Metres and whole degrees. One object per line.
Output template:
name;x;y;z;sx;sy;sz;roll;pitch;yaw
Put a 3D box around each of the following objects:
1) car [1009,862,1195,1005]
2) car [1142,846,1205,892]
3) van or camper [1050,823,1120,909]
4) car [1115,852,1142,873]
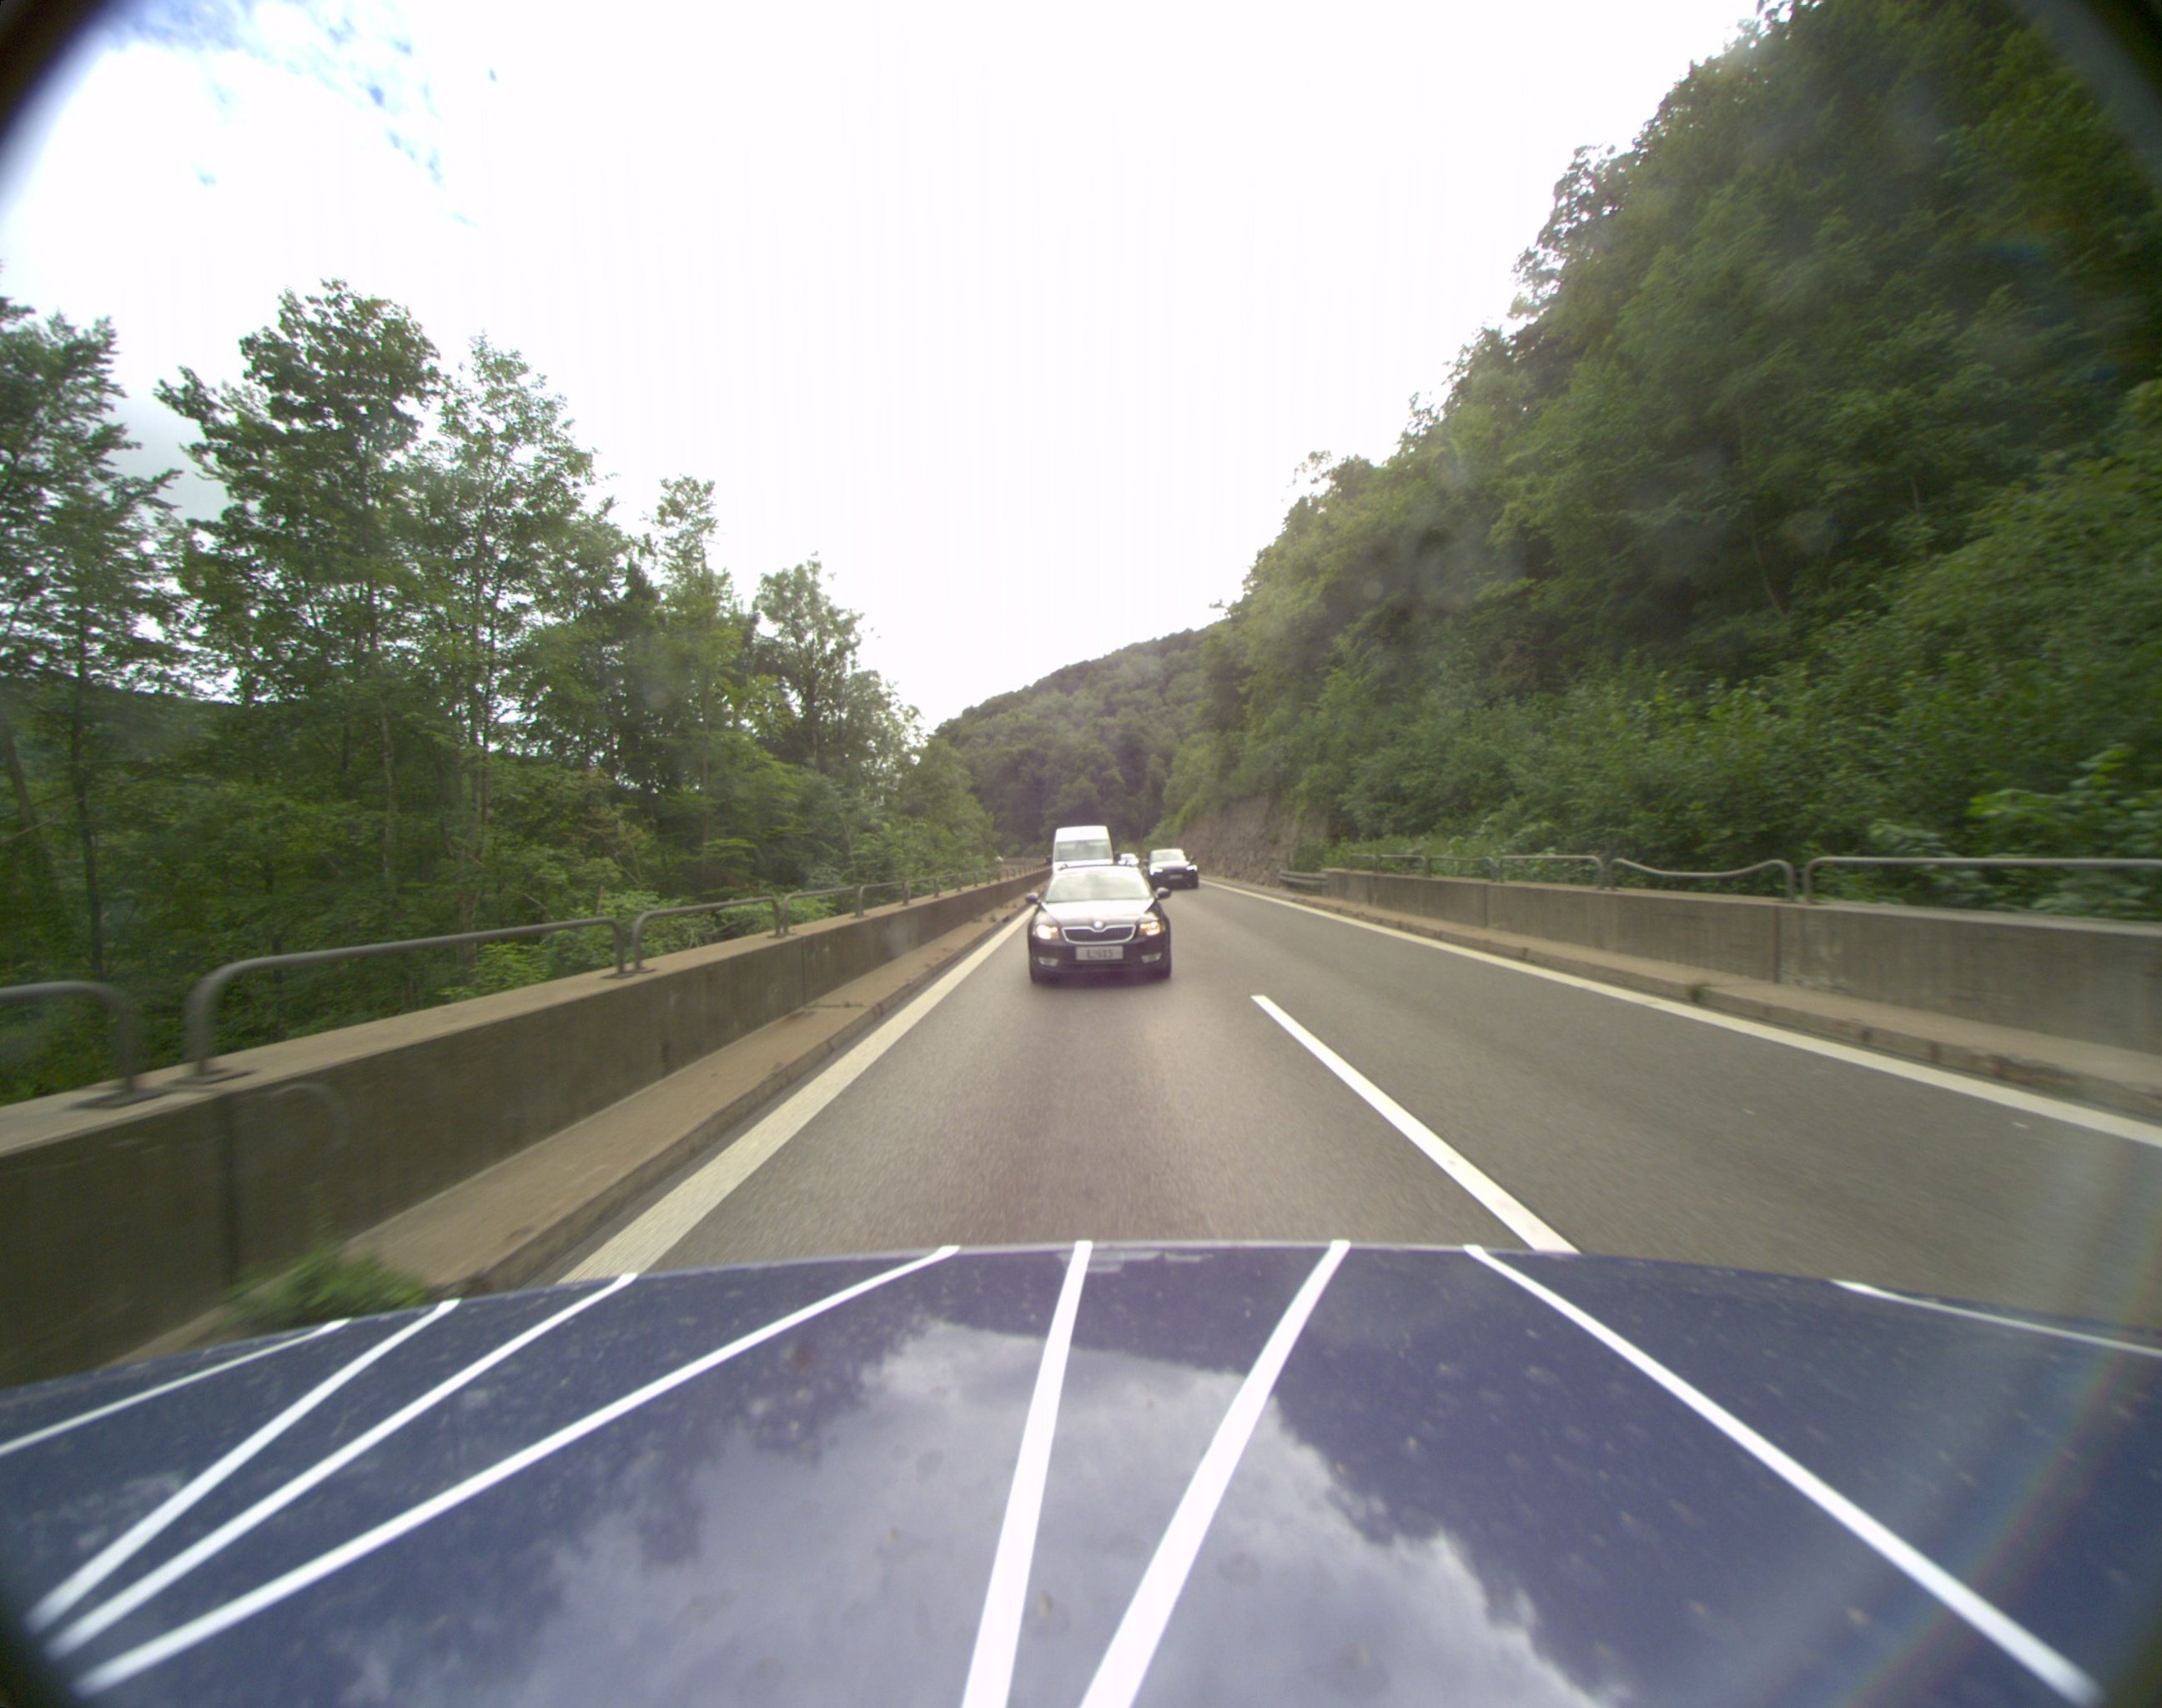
car;0.290;0.920;11.009;1.998;1.389;5.008;-4;0;1
car;3.757;0.566;31.659;1.998;1.622;5.008;-4;0;1
van or camper;0.138;0.357;26.085;2.081;2.575;5.911;-2;0;0
car;3.838;0.657;62.119;1.686;1.506;4.581;-3;1;-3
